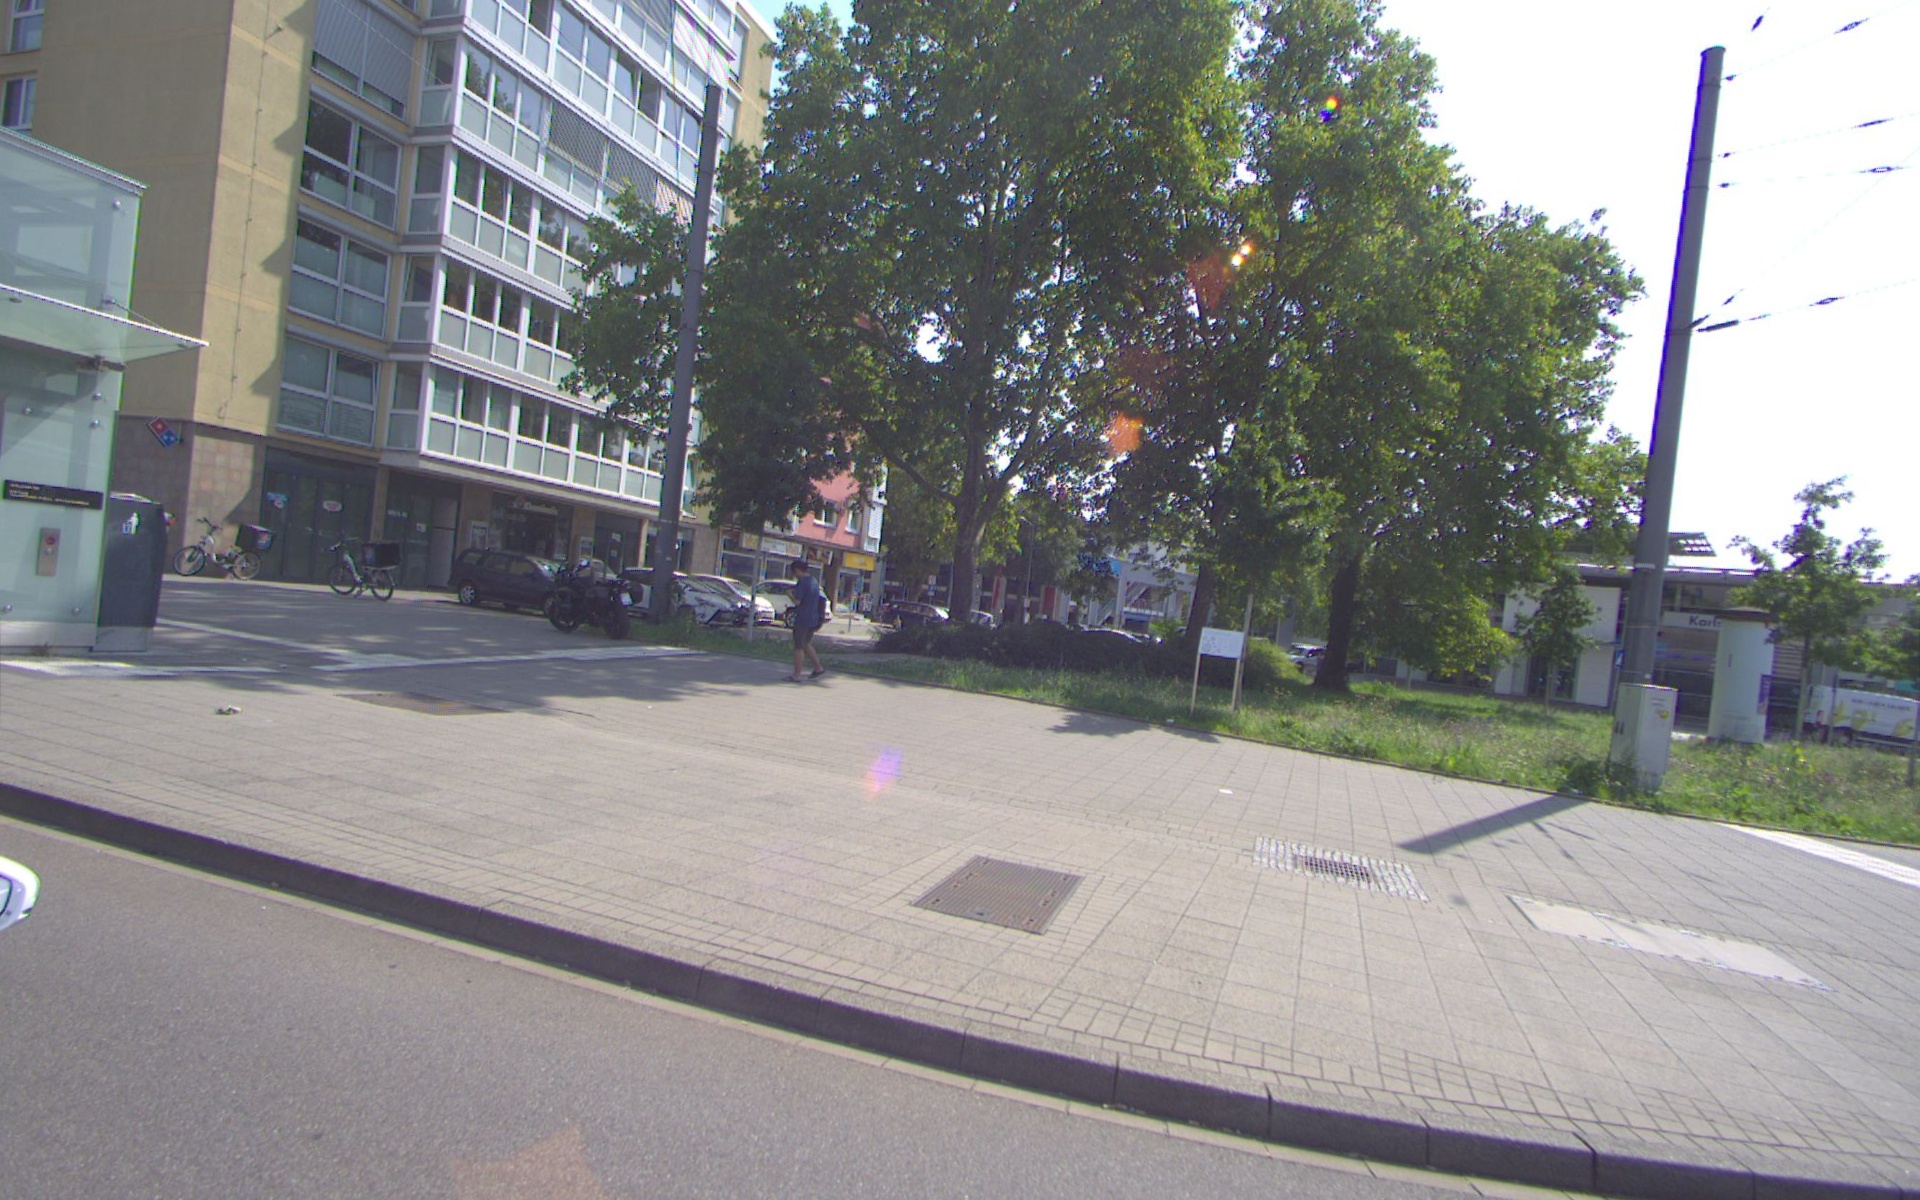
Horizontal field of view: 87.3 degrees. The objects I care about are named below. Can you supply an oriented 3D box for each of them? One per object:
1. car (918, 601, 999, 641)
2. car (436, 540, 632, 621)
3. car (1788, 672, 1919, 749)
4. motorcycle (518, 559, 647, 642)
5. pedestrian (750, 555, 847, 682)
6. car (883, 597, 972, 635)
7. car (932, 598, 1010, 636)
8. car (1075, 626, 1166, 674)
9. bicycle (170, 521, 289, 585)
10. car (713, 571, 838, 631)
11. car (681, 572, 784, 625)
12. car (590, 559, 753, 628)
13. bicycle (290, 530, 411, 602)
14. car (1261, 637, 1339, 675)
[{"bbox_3d":[-0.067,1.168,55.400,3.997,1.687,1.791,7,1,18],"label":"car"},{"bbox_3d":[-10.603,-0.466,25.077,4.167,1.489,1.906,7,0,18],"label":"car"},{"bbox_3d":[40.173,4.904,44.305,5.120,2.617,1.848,9,2,20],"label":"car"},{"bbox_3d":[-6.395,0.004,17.013,2.078,1.151,0.910,7,1,33],"label":"motorcycle"},{"bbox_3d":[-2.225,0.256,13.935,0.932,1.630,0.793,6,1,17],"label":"pedestrian"},{"bbox_3d":[-1.641,0.829,50.974,3.997,1.415,1.791,7,0,18],"label":"car"},{"bbox_3d":[0.629,0.959,57.761,3.997,1.687,1.791,7,1,18],"label":"car"},{"bbox_3d":[6.454,1.995,40.466,3.231,1.479,1.614,7,0,21],"label":"car"},{"bbox_3d":[-16.000,-1.016,22.079,0.587,1.158,1.964,7,1,35],"label":"bicycle"},{"bbox_3d":[-6.757,0.059,36.837,3.997,1.687,1.791,7,1,18],"label":"car"},{"bbox_3d":[-7.808,-0.045,34.579,3.040,1.447,1.403,7,1,18],"label":"car"},{"bbox_3d":[-8.479,-0.173,29.623,4.167,1.489,1.906,7,0,18],"label":"car"},{"bbox_3d":[-12.978,-0.732,21.403,2.389,1.254,0.794,7,1,20],"label":"bicycle"},{"bbox_3d":[20.691,3.417,61.205,4.199,1.775,1.708,7,1,-20],"label":"car"}]
